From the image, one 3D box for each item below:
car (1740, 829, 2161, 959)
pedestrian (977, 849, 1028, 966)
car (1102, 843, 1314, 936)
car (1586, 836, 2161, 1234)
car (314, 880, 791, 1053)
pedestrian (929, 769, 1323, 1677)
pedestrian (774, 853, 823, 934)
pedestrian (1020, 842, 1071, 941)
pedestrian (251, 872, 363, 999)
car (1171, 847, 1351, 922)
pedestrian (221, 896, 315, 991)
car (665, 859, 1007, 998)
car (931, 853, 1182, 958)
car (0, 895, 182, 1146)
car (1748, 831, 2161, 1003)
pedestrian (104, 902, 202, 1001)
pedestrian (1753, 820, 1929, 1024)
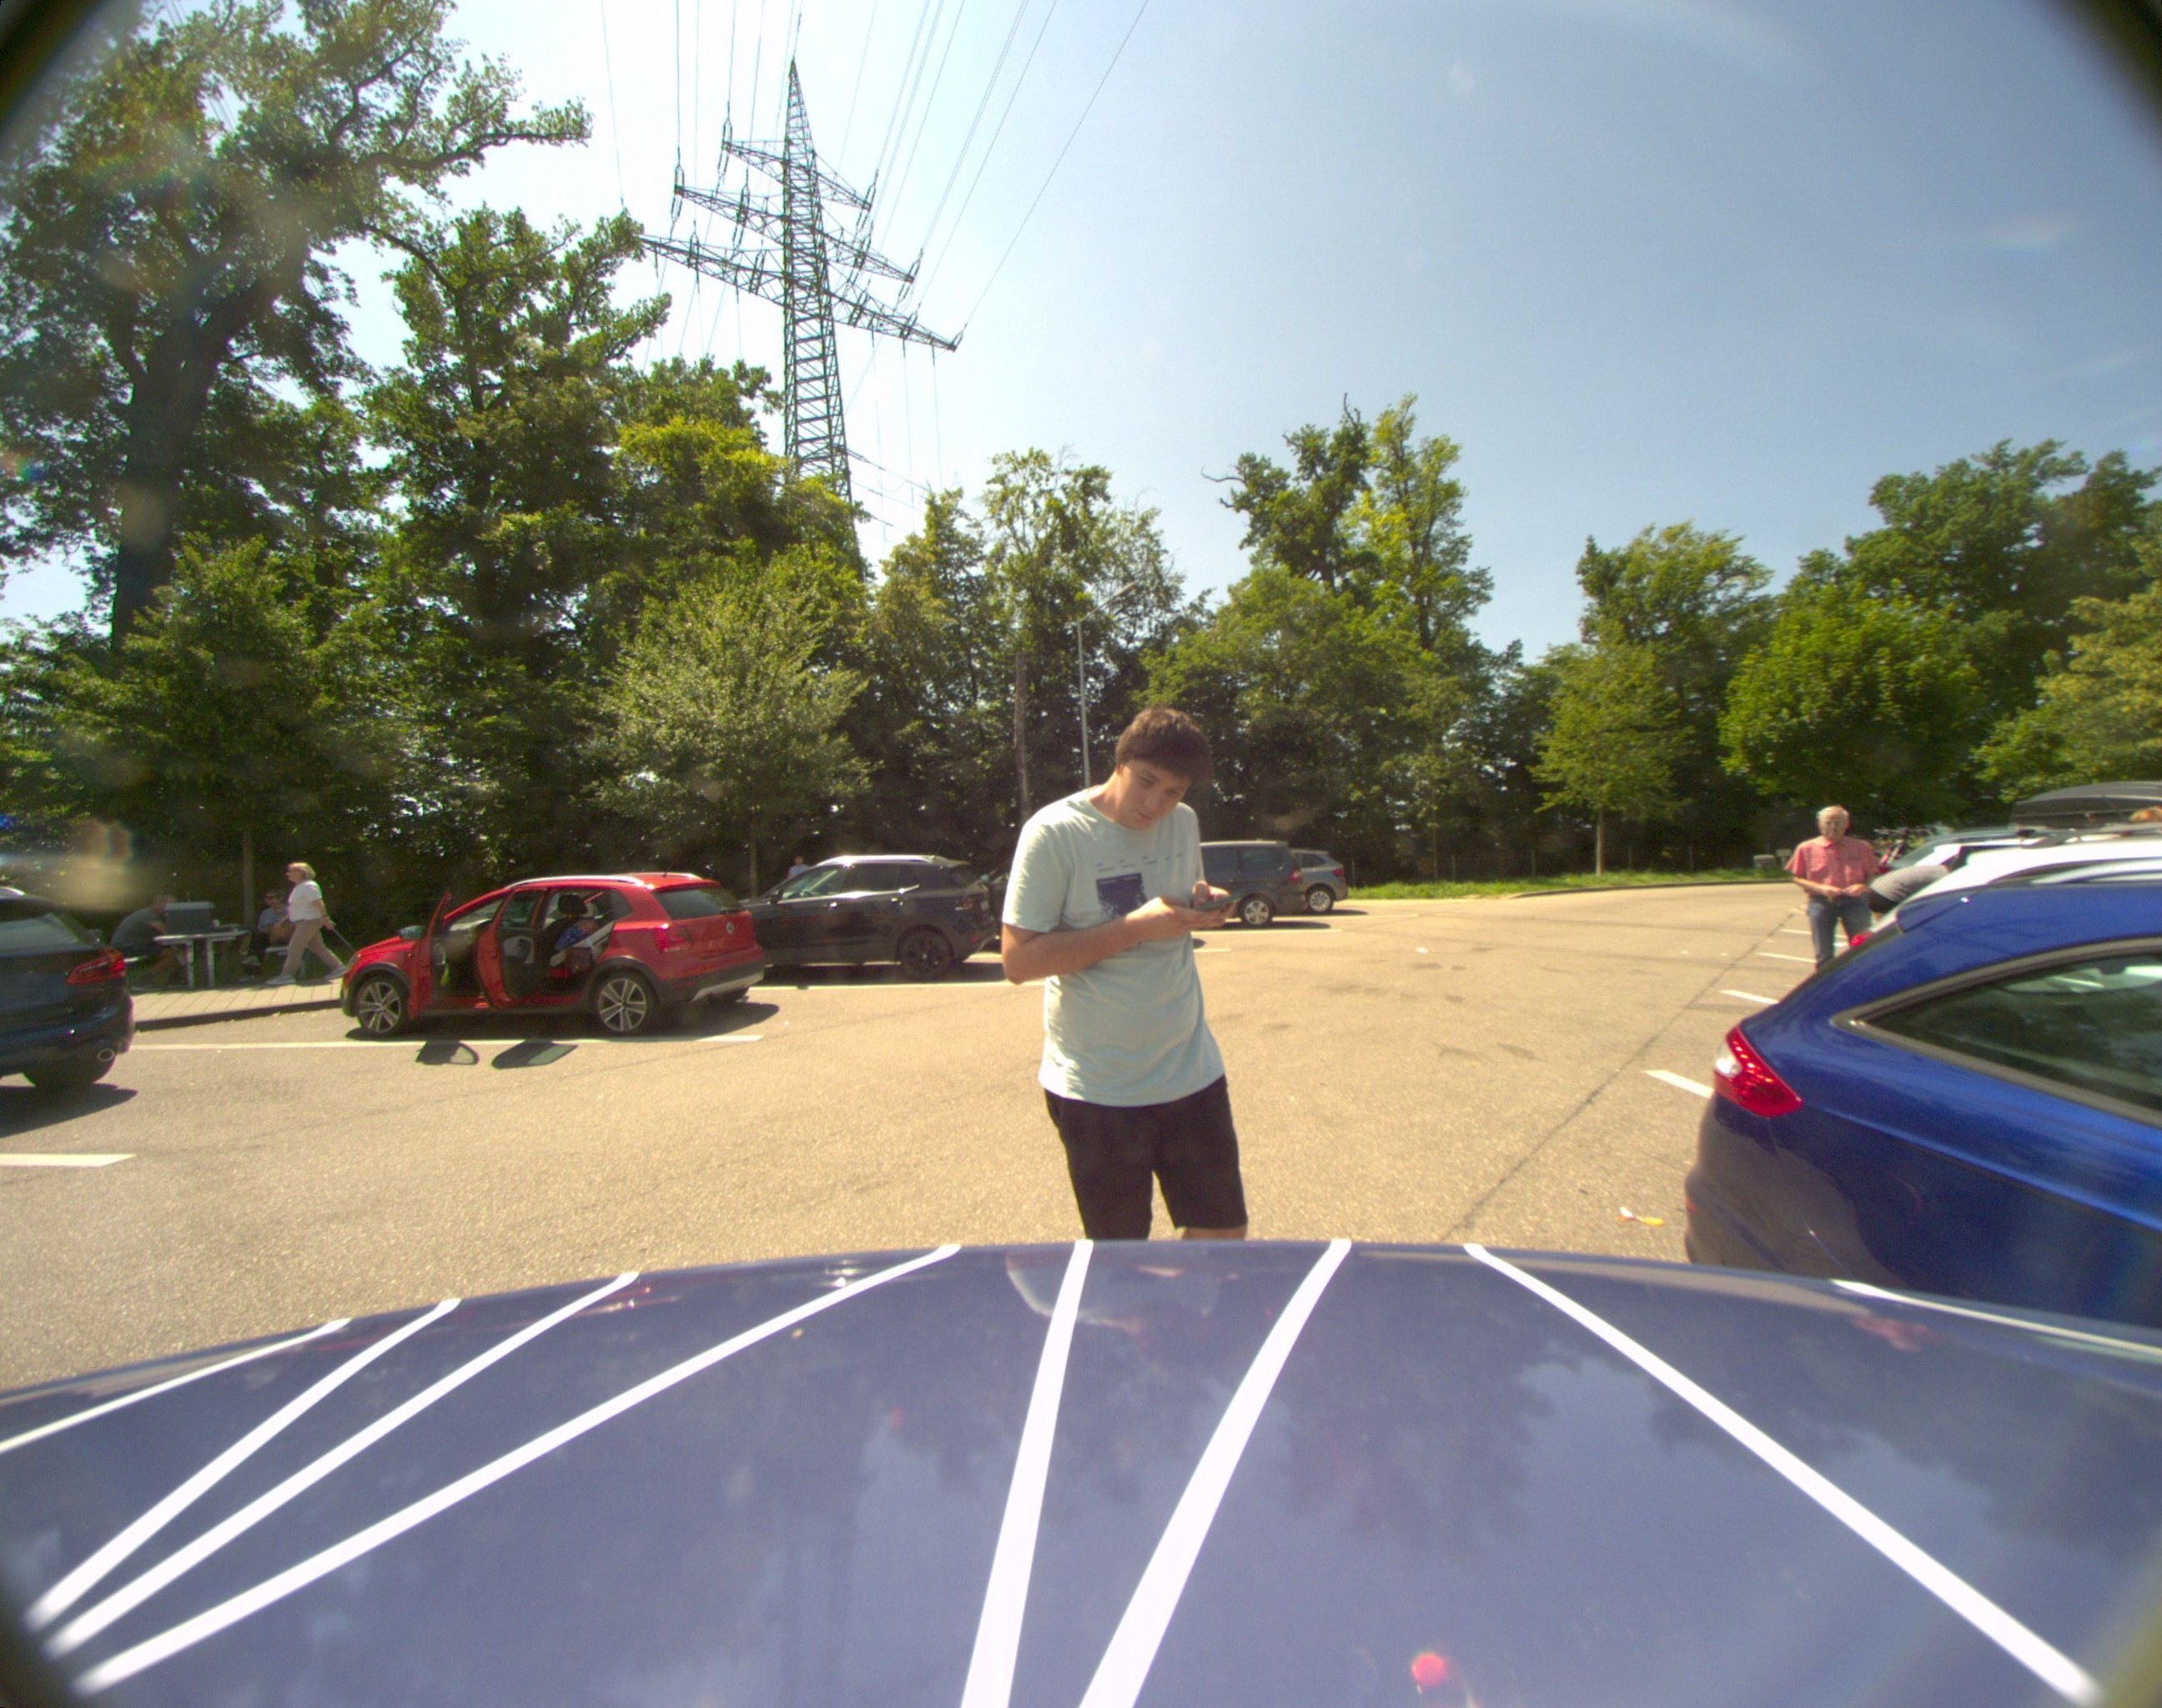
[{"bbox_3d":[12.373,0.477,10.968,1.779,1.456,4.470,-2,-1,0],"label":"car"},{"bbox_3d":[-1.211,0.807,11.808,0.660,1.745,0.636,-2,0,1],"label":"pedestrian"},{"bbox_3d":[2.518,0.698,15.478,3.964,1.678,1.781,-2,0,7],"label":"car"},{"bbox_3d":[4.860,0.660,3.682,1.779,1.456,4.470,-2,-1,0],"label":"car"},{"bbox_3d":[-5.186,1.074,7.749,3.704,1.448,1.781,-2,0,7],"label":"car"},{"bbox_3d":[0.088,0.703,1.728,0.687,1.699,0.578,-2,0,1],"label":"pedestrian"},{"bbox_3d":[-5.765,0.786,15.567,0.715,1.584,0.809,-2,0,-7],"label":"pedestrian"},{"bbox_3d":[-0.696,0.705,14.782,0.682,1.854,0.713,-2,0,-30],"label":"pedestrian"},{"bbox_3d":[-10.343,1.055,10.172,0.774,1.584,0.811,-2,0,27],"label":"pedestrian"},{"bbox_3d":[4.187,0.714,18.230,3.964,1.577,1.781,-2,0,7],"label":"car"},{"bbox_3d":[-11.826,1.283,11.056,0.828,1.287,0.672,-2,0,24],"label":"pedestrian"},{"bbox_3d":[-3.144,0.939,10.318,3.966,1.582,1.841,-2,0,3],"label":"car"},{"bbox_3d":[-0.319,0.841,12.987,3.964,1.582,1.781,-2,0,8],"label":"car"},{"bbox_3d":[-8.911,1.159,5.032,4.011,1.558,1.846,-2,0,6],"label":"car"},{"bbox_3d":[10.071,0.533,8.184,1.779,1.456,4.470,-2,-1,0],"label":"car"},{"bbox_3d":[-12.663,1.306,10.380,0.652,1.262,0.672,-2,0,24],"label":"pedestrian"},{"bbox_3d":[6.372,0.544,6.418,0.672,1.592,0.759,-2,0,1],"label":"pedestrian"}]
